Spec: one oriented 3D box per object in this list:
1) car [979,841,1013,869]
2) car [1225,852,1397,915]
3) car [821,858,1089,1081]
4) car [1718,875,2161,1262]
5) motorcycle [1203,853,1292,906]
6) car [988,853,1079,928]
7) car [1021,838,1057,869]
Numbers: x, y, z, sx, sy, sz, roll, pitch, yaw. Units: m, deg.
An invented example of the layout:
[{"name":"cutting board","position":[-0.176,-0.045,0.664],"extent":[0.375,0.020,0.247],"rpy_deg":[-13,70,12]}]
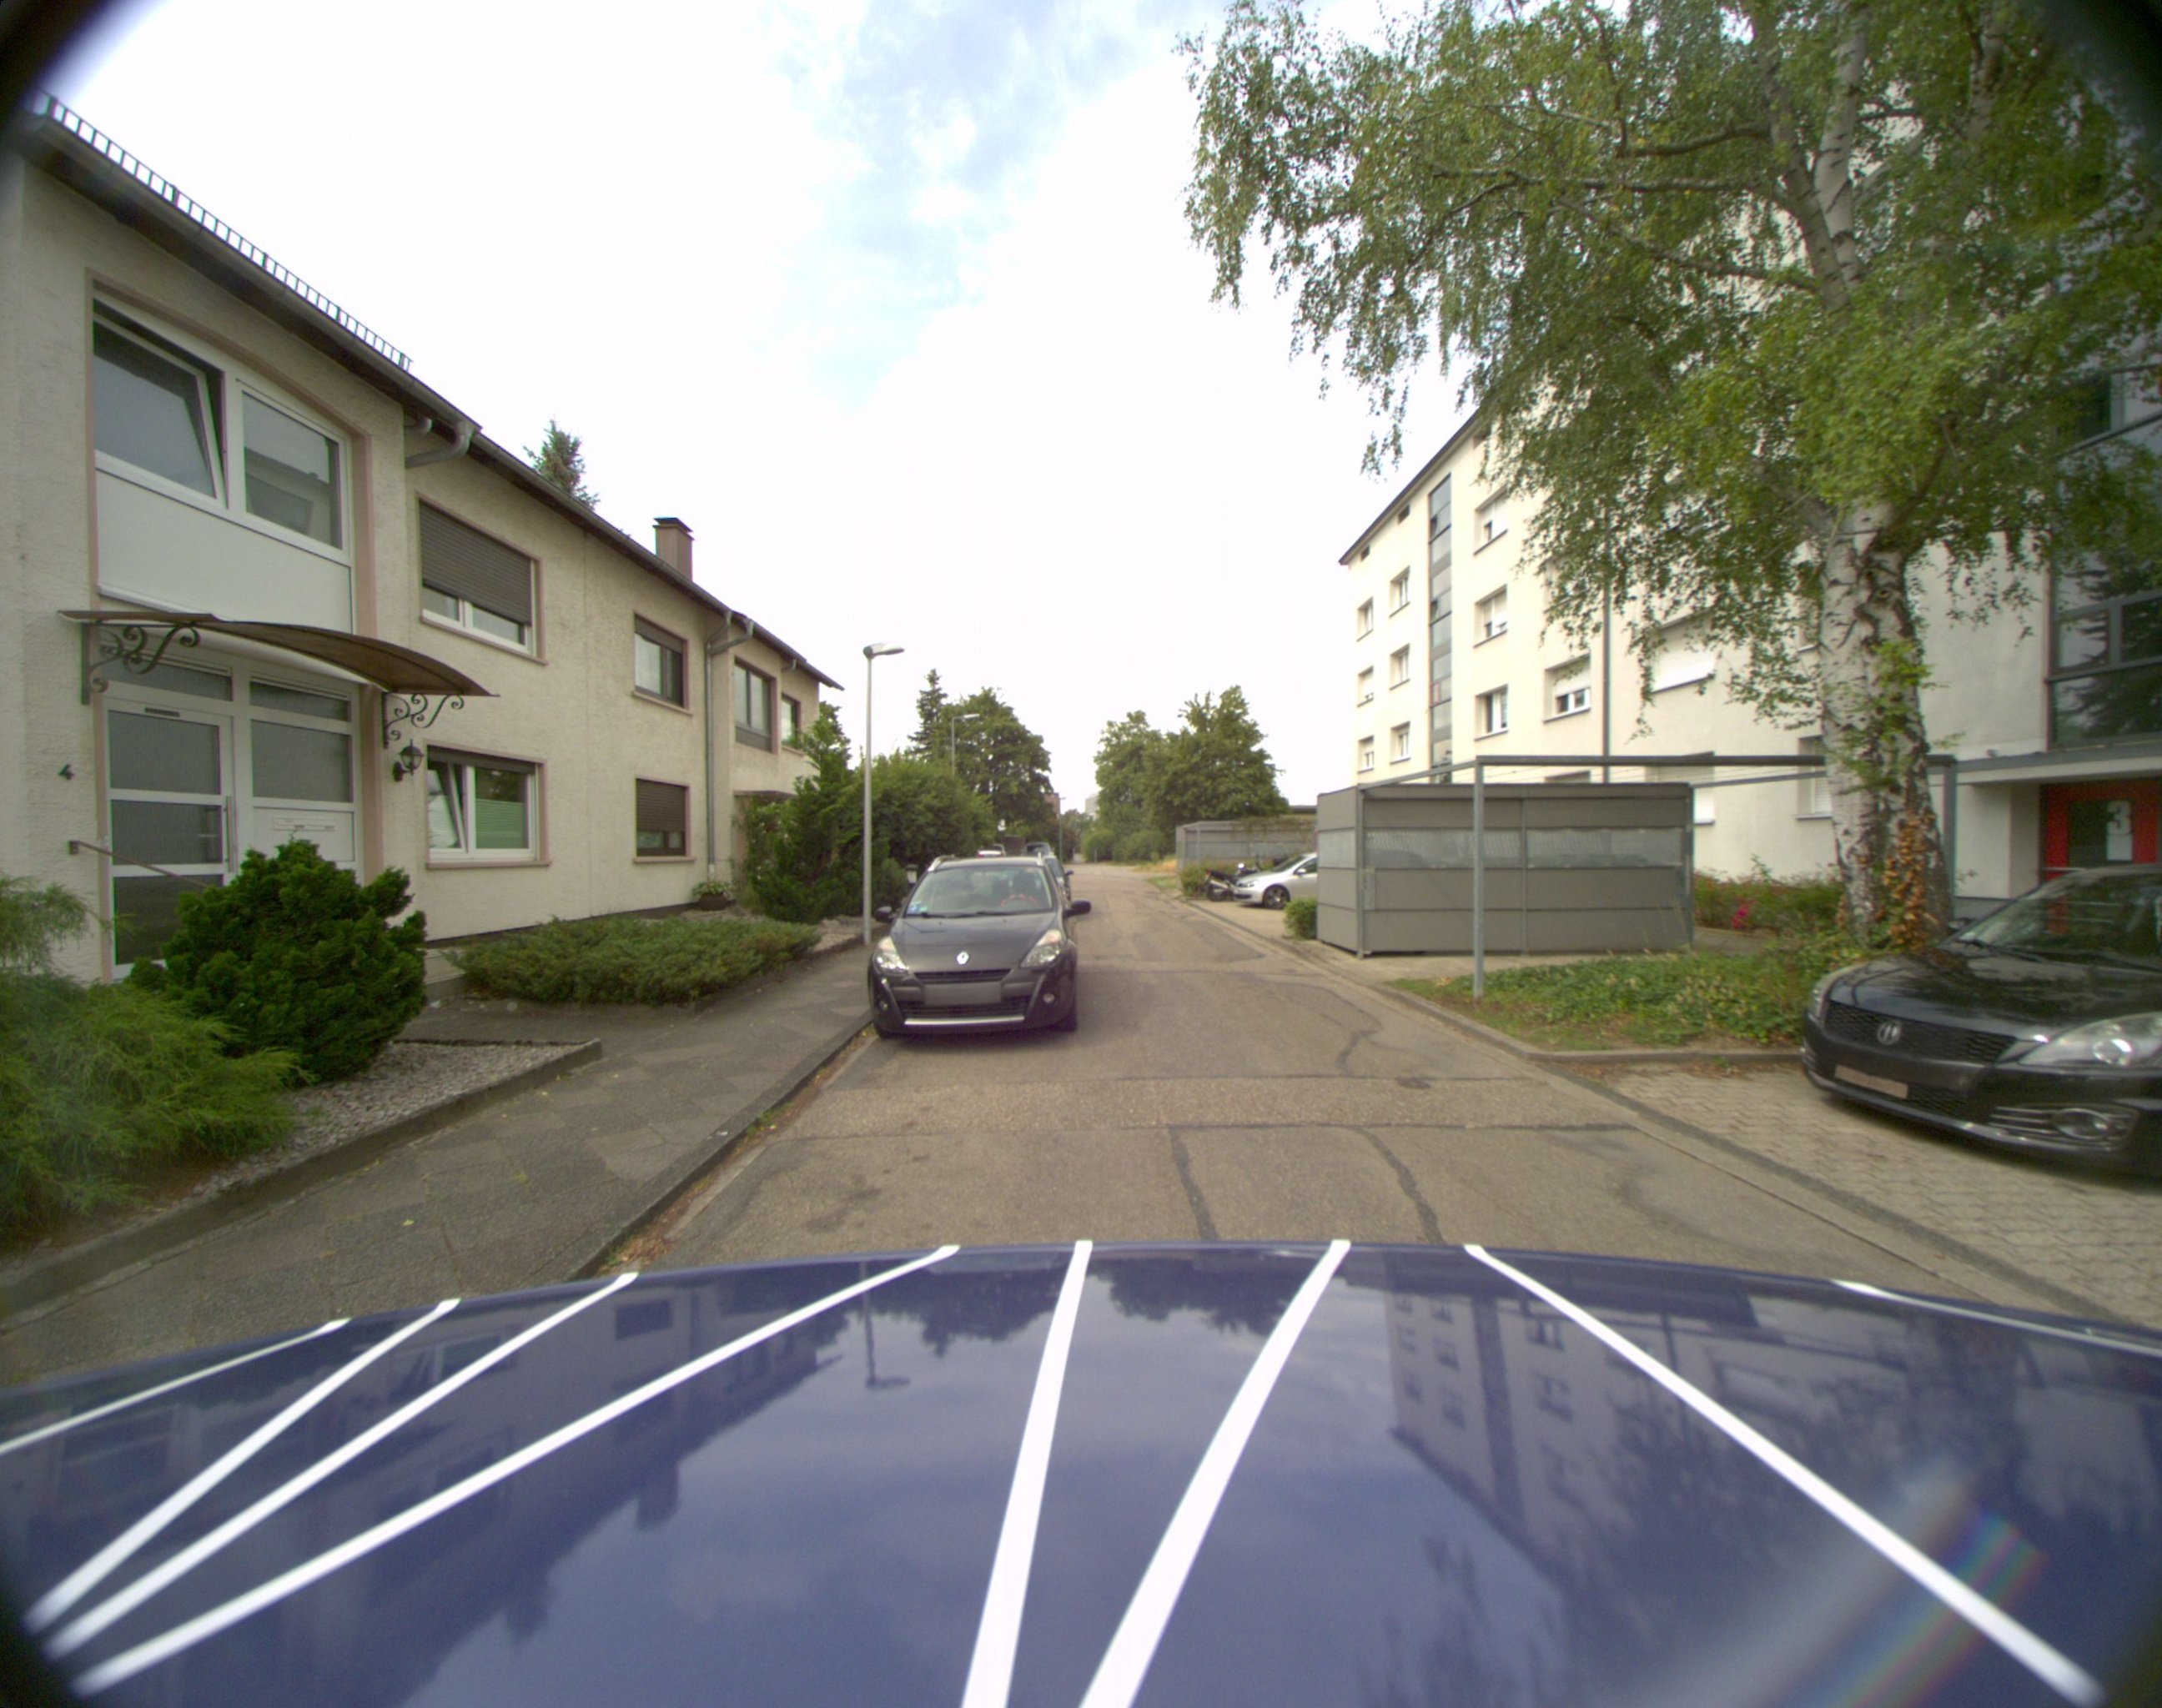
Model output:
[{"name":"car","position":[-4.862,0.002,43.812],"extent":[1.705,1.458,3.997],"rpy_deg":[0,2,-3]},{"name":"car","position":[6.050,0.752,20.361],"extent":[3.997,1.477,1.902],"rpy_deg":[2,1,1]},{"name":"car","position":[-0.965,0.824,7.447],"extent":[1.834,1.449,4.188],"rpy_deg":[-2,1,-3]},{"name":"car","position":[6.124,0.906,3.990],"extent":[4.062,1.496,1.781],"rpy_deg":[0,1,-1]},{"name":"motorcycle","position":[4.811,0.720,22.021],"extent":[2.383,1.456,0.714],"rpy_deg":[1,1,-1]},{"name":"car","position":[-1.066,0.757,17.723],"extent":[1.834,1.449,4.188],"rpy_deg":[-2,1,-3]},{"name":"car","position":[-2.376,-0.059,43.193],"extent":[1.926,1.576,3.998],"rpy_deg":[-2,1,-3]}]
